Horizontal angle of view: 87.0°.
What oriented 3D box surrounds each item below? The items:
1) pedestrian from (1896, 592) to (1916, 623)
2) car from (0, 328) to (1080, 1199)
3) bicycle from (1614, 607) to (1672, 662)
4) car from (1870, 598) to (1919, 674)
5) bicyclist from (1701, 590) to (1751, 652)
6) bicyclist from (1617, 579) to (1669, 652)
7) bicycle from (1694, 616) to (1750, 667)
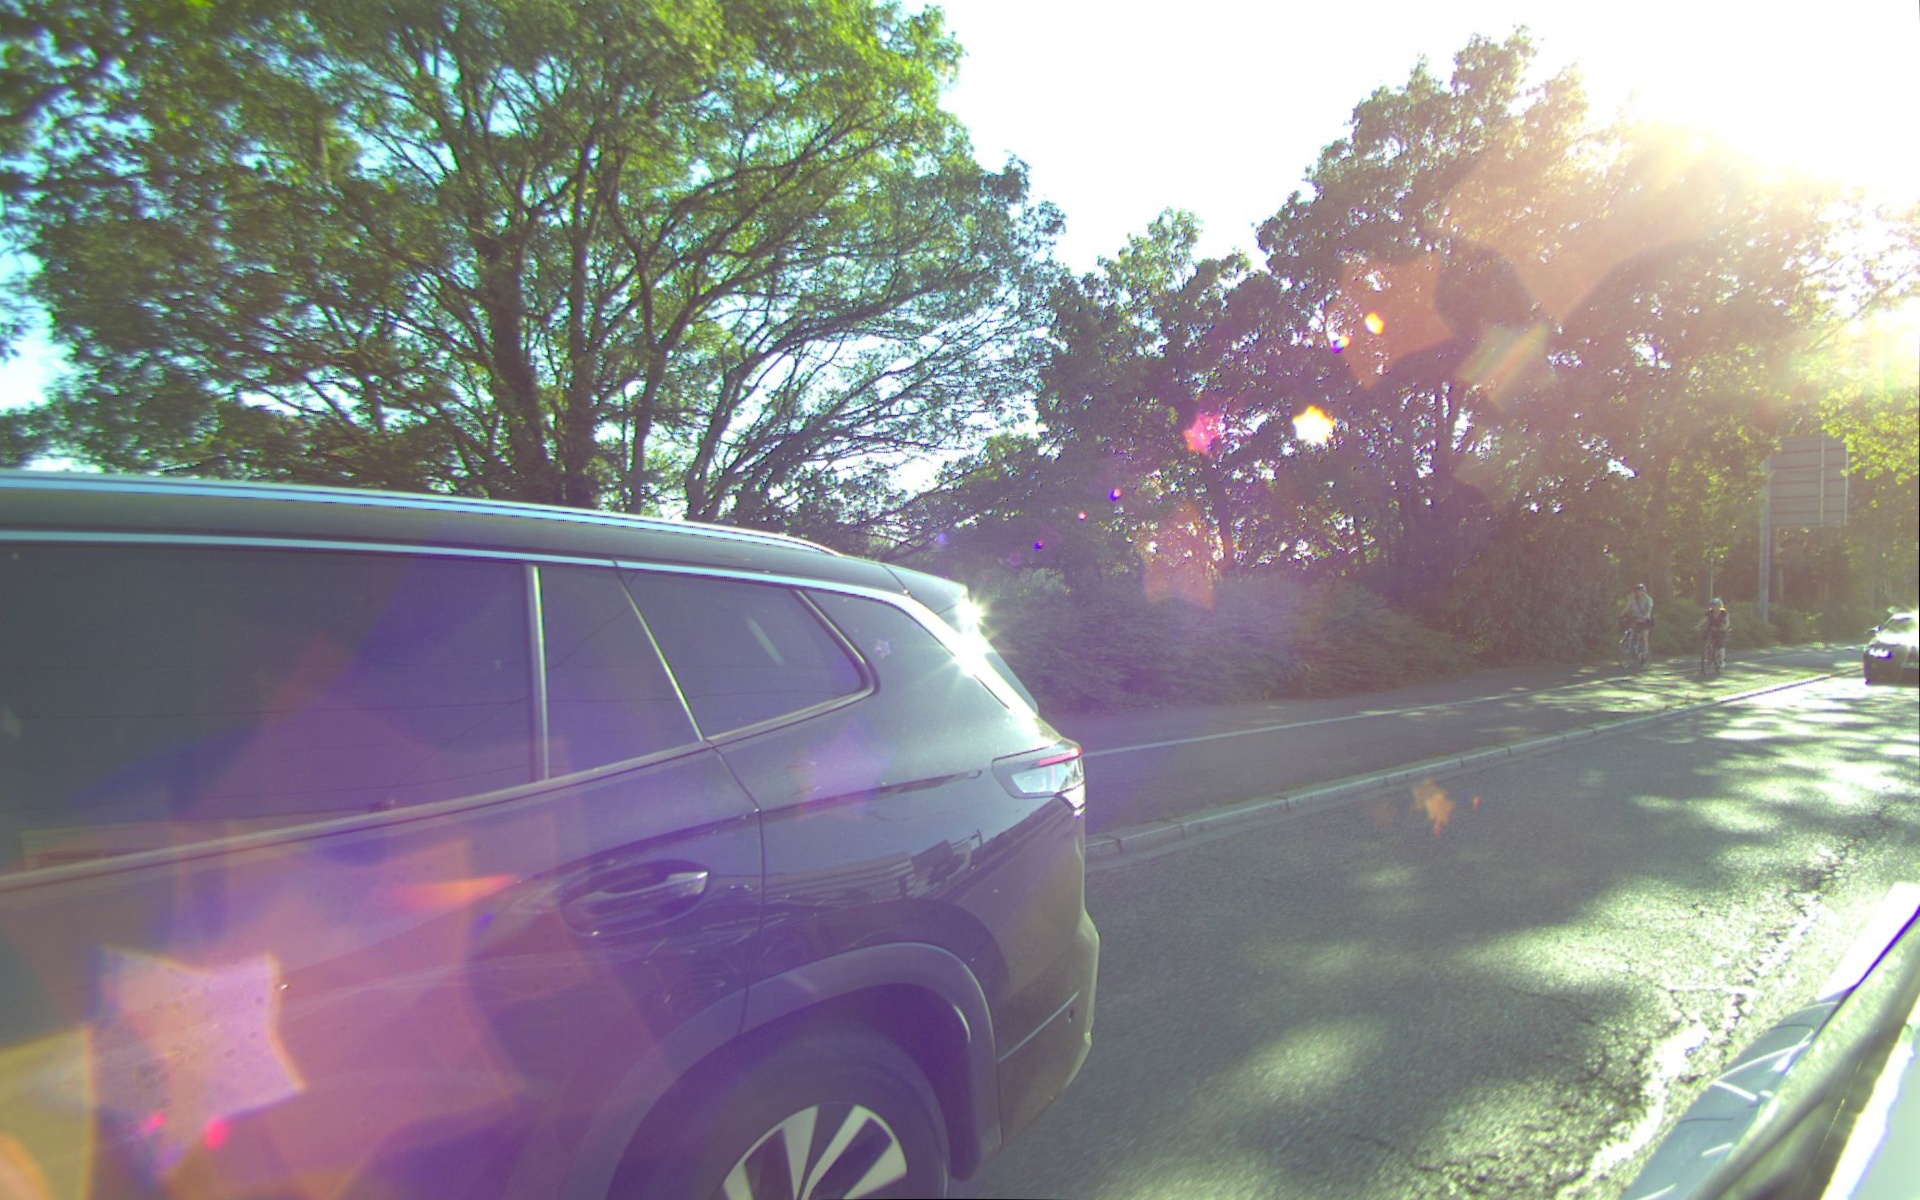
[{"bbox_3d":[54.702,0.440,58.524,0.799,1.729,0.723,1,1,-42],"label":"pedestrian"},{"bbox_3d":[-1.978,0.547,1.374,4.363,1.682,1.847,0,1,-42],"label":"car"},{"bbox_3d":[15.005,0.731,22.213,1.781,1.134,0.623,1,1,-42],"label":"bicycle"},{"bbox_3d":[20.846,0.711,21.386,4.506,1.486,1.869,0,0,-41],"label":"car"},{"bbox_3d":[16.018,0.433,21.151,0.875,1.241,0.642,1,1,-41],"label":"bicyclist"},{"bbox_3d":[14.971,0.326,22.176,0.875,1.527,0.687,1,2,-41],"label":"bicyclist"},{"bbox_3d":[15.794,0.850,20.965,1.757,0.986,0.566,1,1,-42],"label":"bicycle"}]
